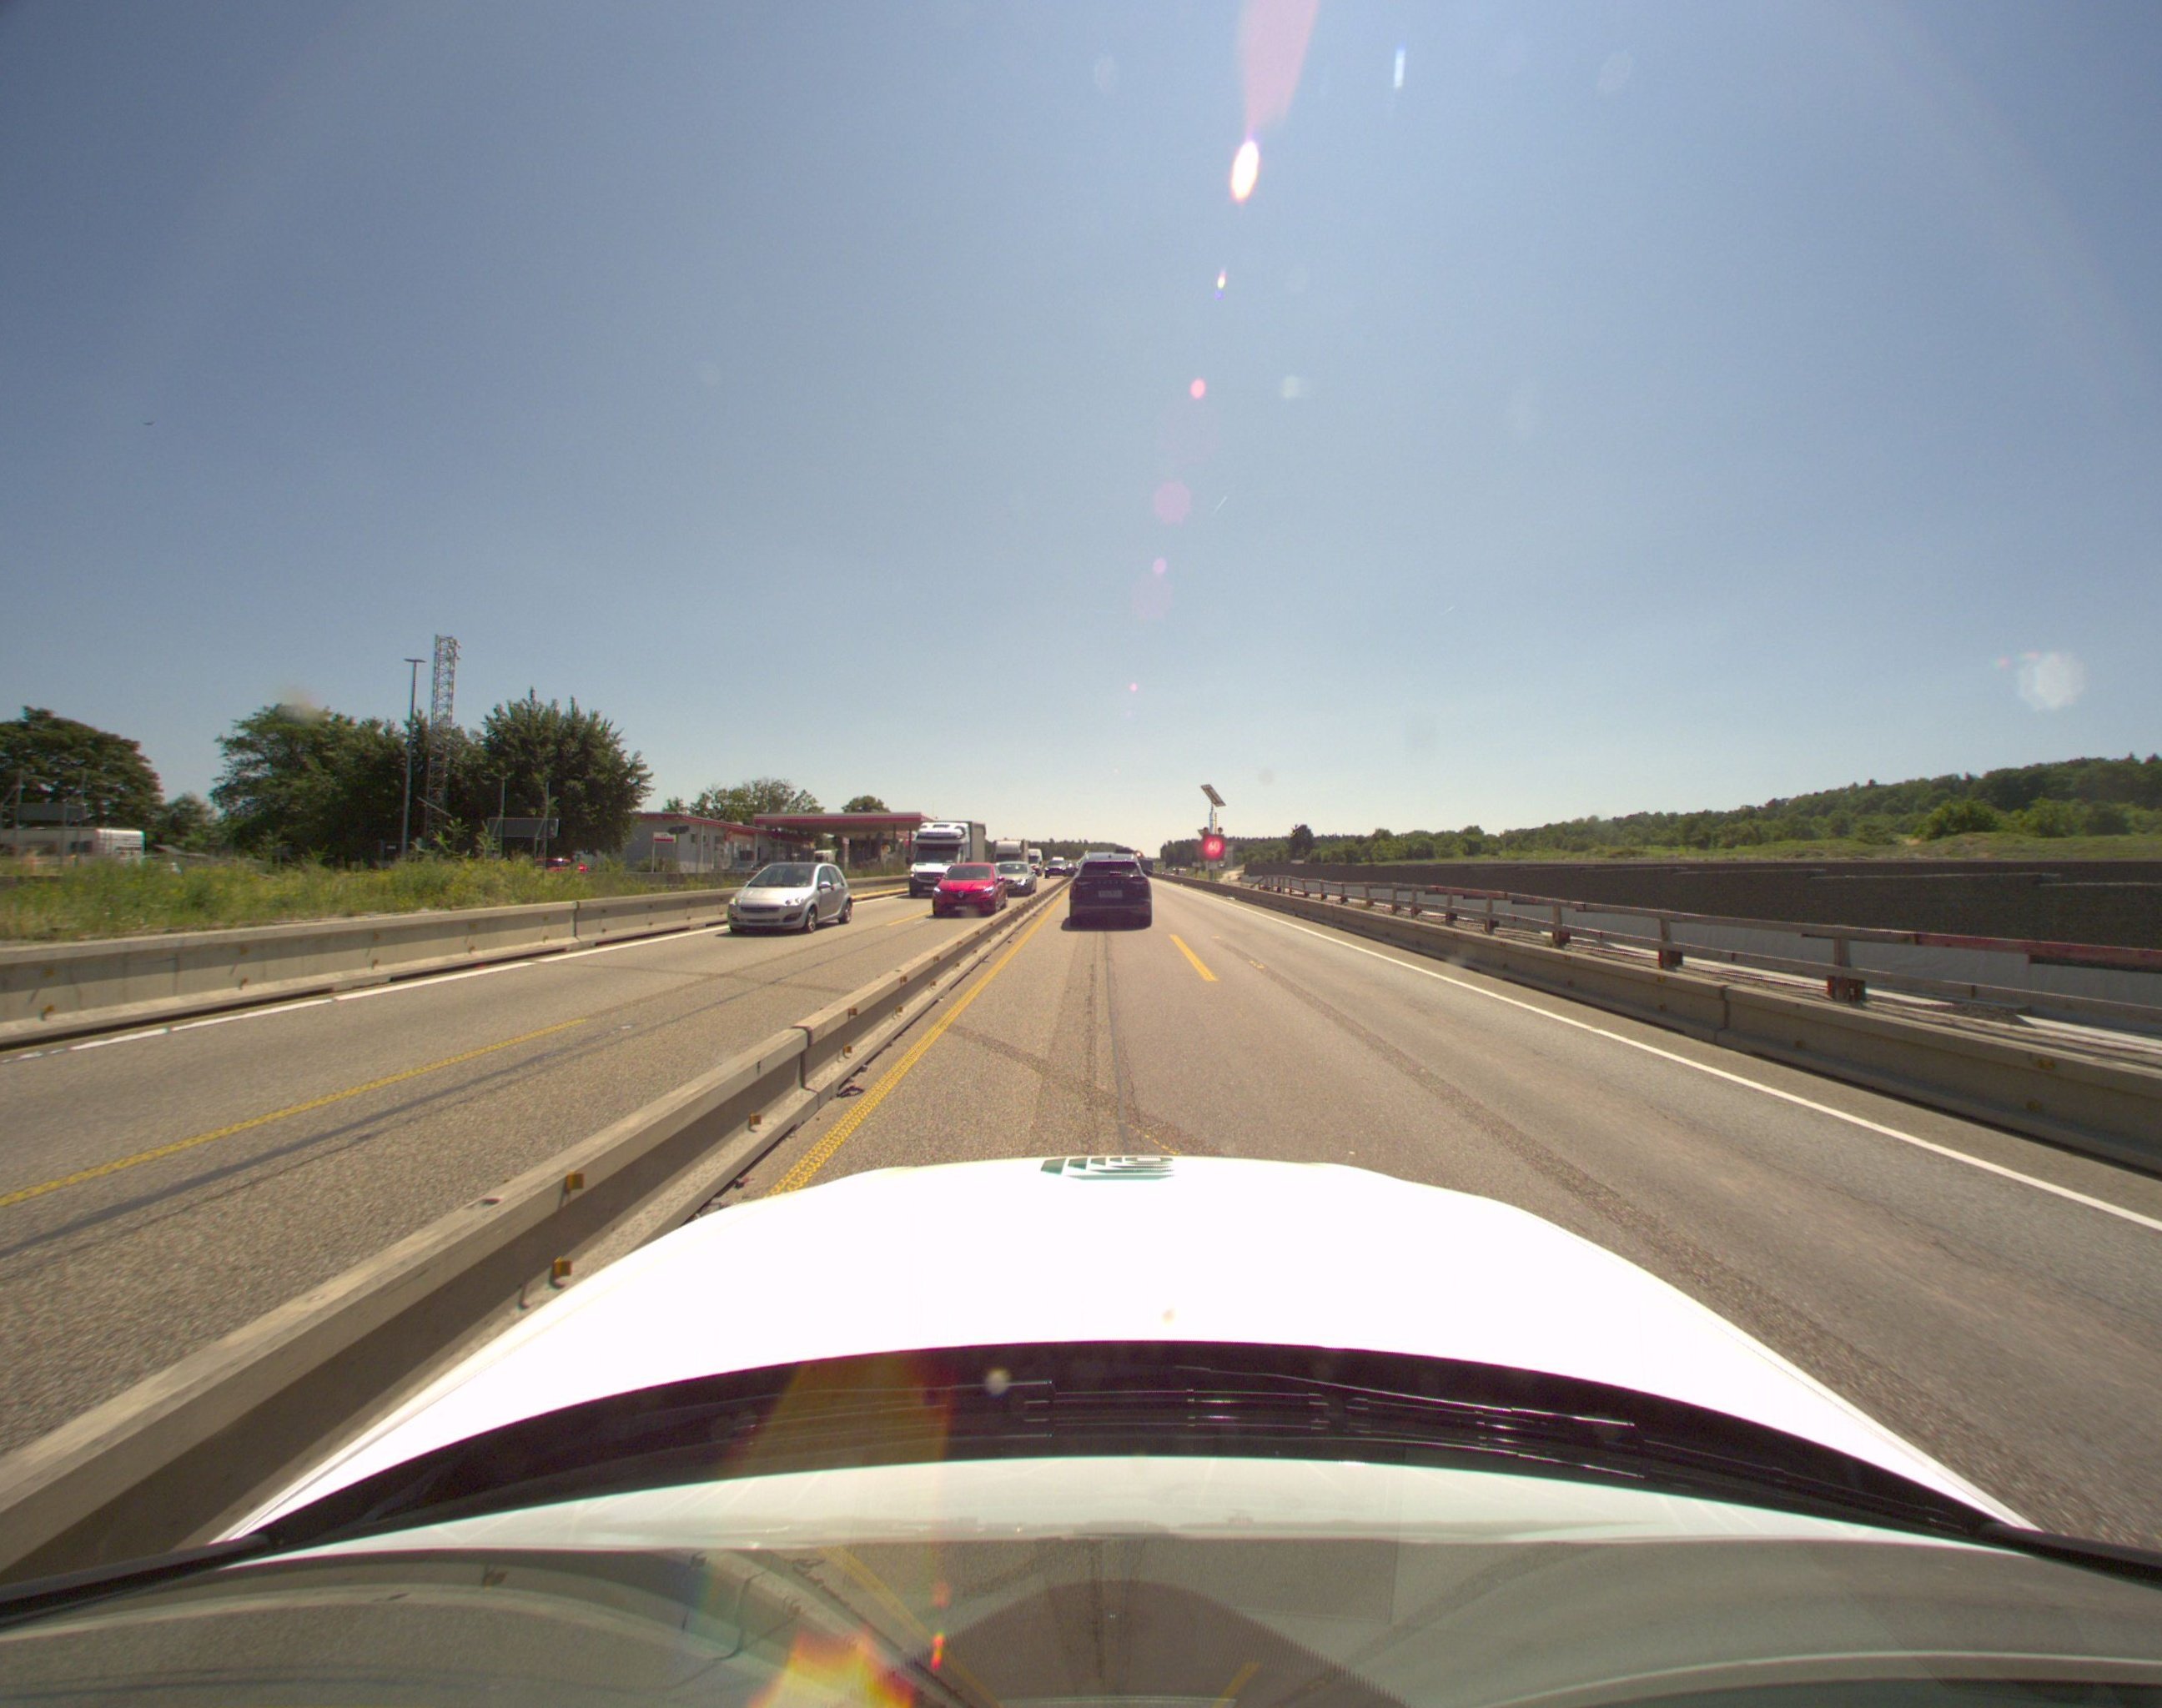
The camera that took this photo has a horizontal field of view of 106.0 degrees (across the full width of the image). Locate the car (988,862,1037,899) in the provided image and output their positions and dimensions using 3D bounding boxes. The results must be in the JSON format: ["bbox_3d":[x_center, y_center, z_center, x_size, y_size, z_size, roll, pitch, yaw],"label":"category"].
[{"bbox_3d":[-2.849,1.078,34.811,1.676,1.429,4.202,-1,0,1],"label":"car"}]

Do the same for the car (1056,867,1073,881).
[{"bbox_3d":[-1.944,2.282,94.896,1.934,1.611,3.997,0,0,-2],"label":"car"}]

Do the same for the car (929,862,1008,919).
[{"bbox_3d":[-3.104,0.974,23.129,1.643,1.434,4.000,-1,0,0],"label":"car"}]

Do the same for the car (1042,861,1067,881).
[{"bbox_3d":[-2.302,1.453,71.843,1.935,1.658,4.746,-1,0,1],"label":"car"}]

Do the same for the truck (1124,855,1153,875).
[{"bbox_3d":[14.181,2.783,199.790,3.446,4.220,10.429,5,-1,22],"label":"truck"}]

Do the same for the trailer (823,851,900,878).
[{"bbox_3d":[-35.308,1.803,132.018,3.120,4.112,14.248,-1,-2,28],"label":"trailer"}]

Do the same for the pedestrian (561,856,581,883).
[{"bbox_3d":[-23.261,0.710,37.127,0.470,1.204,0.588,0,-1,16],"label":"pedestrian"}]

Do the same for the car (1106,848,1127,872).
[{"bbox_3d":[6.526,1.142,148.124,3.422,4.101,9.203,4,-1,3],"label":"car"}]

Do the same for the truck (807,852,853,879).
[{"bbox_3d":[-38.649,1.782,125.642,3.120,3.985,6.384,-1,-2,28],"label":"truck"}]

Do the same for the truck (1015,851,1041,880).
[{"bbox_3d":[-5.238,1.089,81.651,2.232,2.786,6.491,0,0,0],"label":"truck"}]

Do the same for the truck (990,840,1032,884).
[{"bbox_3d":[-5.577,0.580,65.966,2.486,3.292,8.118,-1,0,1],"label":"truck"}]

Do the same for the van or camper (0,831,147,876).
[{"bbox_3d":[-55.138,-0.025,44.426,5.199,2.398,2.444,0,0,-6],"label":"van or camper"}]

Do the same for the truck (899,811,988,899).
[{"bbox_3d":[-5.786,0.057,35.440,2.381,3.385,7.716,0,0,1],"label":"truck"}]

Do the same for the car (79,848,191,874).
[{"bbox_3d":[-55.366,0.401,47.725,3.980,1.464,1.997,0,0,-5],"label":"car"}]

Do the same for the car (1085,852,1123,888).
[{"bbox_3d":[1.231,0.903,45.777,1.987,1.844,3.999,2,-1,0],"label":"car"}]

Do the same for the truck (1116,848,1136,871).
[{"bbox_3d":[5.965,0.774,108.659,2.663,2.946,5.623,0,0,2],"label":"truck"}]

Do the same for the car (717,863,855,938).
[{"bbox_3d":[-6.294,0.929,17.811,1.617,1.448,3.785,0,0,0],"label":"car"}]

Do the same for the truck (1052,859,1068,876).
[{"bbox_3d":[-3.564,2.273,140.351,2.471,2.824,8.130,0,-1,1],"label":"truck"}]

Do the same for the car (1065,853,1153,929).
[{"bbox_3d":[0.659,0.778,19.083,1.835,1.582,4.002,0,0,2],"label":"car"}]
